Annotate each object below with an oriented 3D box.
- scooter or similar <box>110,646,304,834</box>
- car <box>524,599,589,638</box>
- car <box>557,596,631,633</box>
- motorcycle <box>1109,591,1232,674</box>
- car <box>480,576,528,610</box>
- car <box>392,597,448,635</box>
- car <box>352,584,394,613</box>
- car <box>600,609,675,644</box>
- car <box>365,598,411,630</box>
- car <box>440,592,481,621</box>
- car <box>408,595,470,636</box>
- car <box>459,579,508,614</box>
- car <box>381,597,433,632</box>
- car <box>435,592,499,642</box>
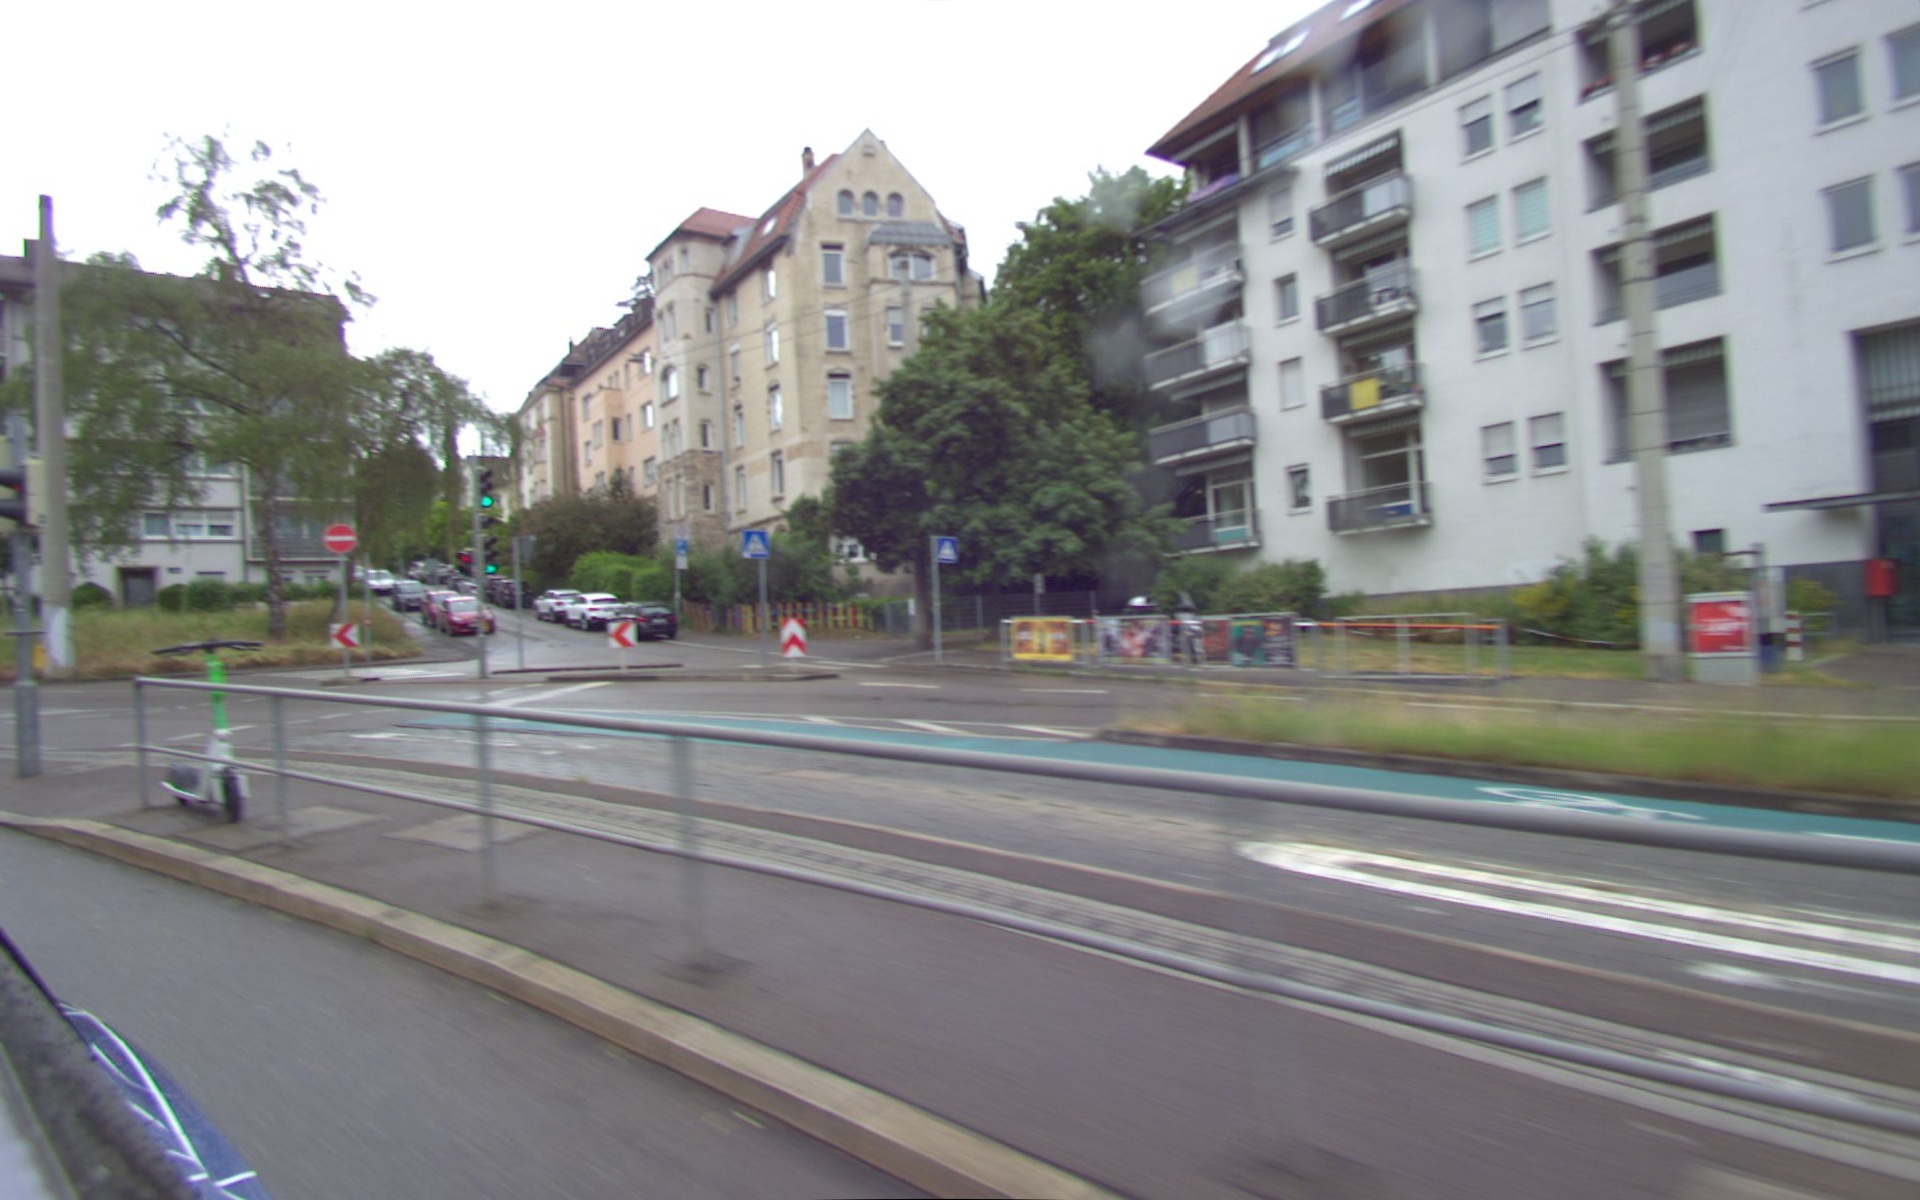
[{"bbox_3d":[-5.076,0.885,6.795,1.598,1.122,0.430,-1,0,30],"label":"scooter or similar"},{"bbox_3d":[-20.061,0.930,50.236,1.777,1.849,4.292,2,-2,-39],"label":"car"},{"bbox_3d":[-16.589,0.659,45.755,1.967,1.605,4.366,0,-1,-36],"label":"car"},{"bbox_3d":[4.258,0.645,20.617,0.689,1.562,2.443,-4,2,-43],"label":"motorcycle"},{"bbox_3d":[-26.417,-0.375,58.627,1.654,1.849,3.673,0,-1,-39],"label":"car"},{"bbox_3d":[-27.943,0.808,52.273,1.777,1.849,4.292,0,-1,-39],"label":"car"},{"bbox_3d":[-38.821,-0.062,66.845,1.777,1.849,4.292,0,-1,-39],"label":"car"},{"bbox_3d":[-12.738,1.006,39.839,1.724,1.232,4.368,0,0,-33],"label":"car"},{"bbox_3d":[-35.022,0.851,61.931,1.777,1.849,4.292,0,-1,-39],"label":"car"},{"bbox_3d":[-32.938,0.450,66.699,1.654,1.849,3.673,0,-1,-39],"label":"car"},{"bbox_3d":[-24.584,0.727,47.669,1.777,1.849,4.292,0,-1,-39],"label":"car"},{"bbox_3d":[-29.001,-0.172,61.520,1.967,2.029,4.009,0,-1,-36],"label":"car"},{"bbox_3d":[-30.823,0.813,56.347,1.777,1.849,4.292,0,-1,-39],"label":"car"},{"bbox_3d":[-21.296,0.736,43.626,1.966,2.029,4.011,0,-1,-33],"label":"car"}]
